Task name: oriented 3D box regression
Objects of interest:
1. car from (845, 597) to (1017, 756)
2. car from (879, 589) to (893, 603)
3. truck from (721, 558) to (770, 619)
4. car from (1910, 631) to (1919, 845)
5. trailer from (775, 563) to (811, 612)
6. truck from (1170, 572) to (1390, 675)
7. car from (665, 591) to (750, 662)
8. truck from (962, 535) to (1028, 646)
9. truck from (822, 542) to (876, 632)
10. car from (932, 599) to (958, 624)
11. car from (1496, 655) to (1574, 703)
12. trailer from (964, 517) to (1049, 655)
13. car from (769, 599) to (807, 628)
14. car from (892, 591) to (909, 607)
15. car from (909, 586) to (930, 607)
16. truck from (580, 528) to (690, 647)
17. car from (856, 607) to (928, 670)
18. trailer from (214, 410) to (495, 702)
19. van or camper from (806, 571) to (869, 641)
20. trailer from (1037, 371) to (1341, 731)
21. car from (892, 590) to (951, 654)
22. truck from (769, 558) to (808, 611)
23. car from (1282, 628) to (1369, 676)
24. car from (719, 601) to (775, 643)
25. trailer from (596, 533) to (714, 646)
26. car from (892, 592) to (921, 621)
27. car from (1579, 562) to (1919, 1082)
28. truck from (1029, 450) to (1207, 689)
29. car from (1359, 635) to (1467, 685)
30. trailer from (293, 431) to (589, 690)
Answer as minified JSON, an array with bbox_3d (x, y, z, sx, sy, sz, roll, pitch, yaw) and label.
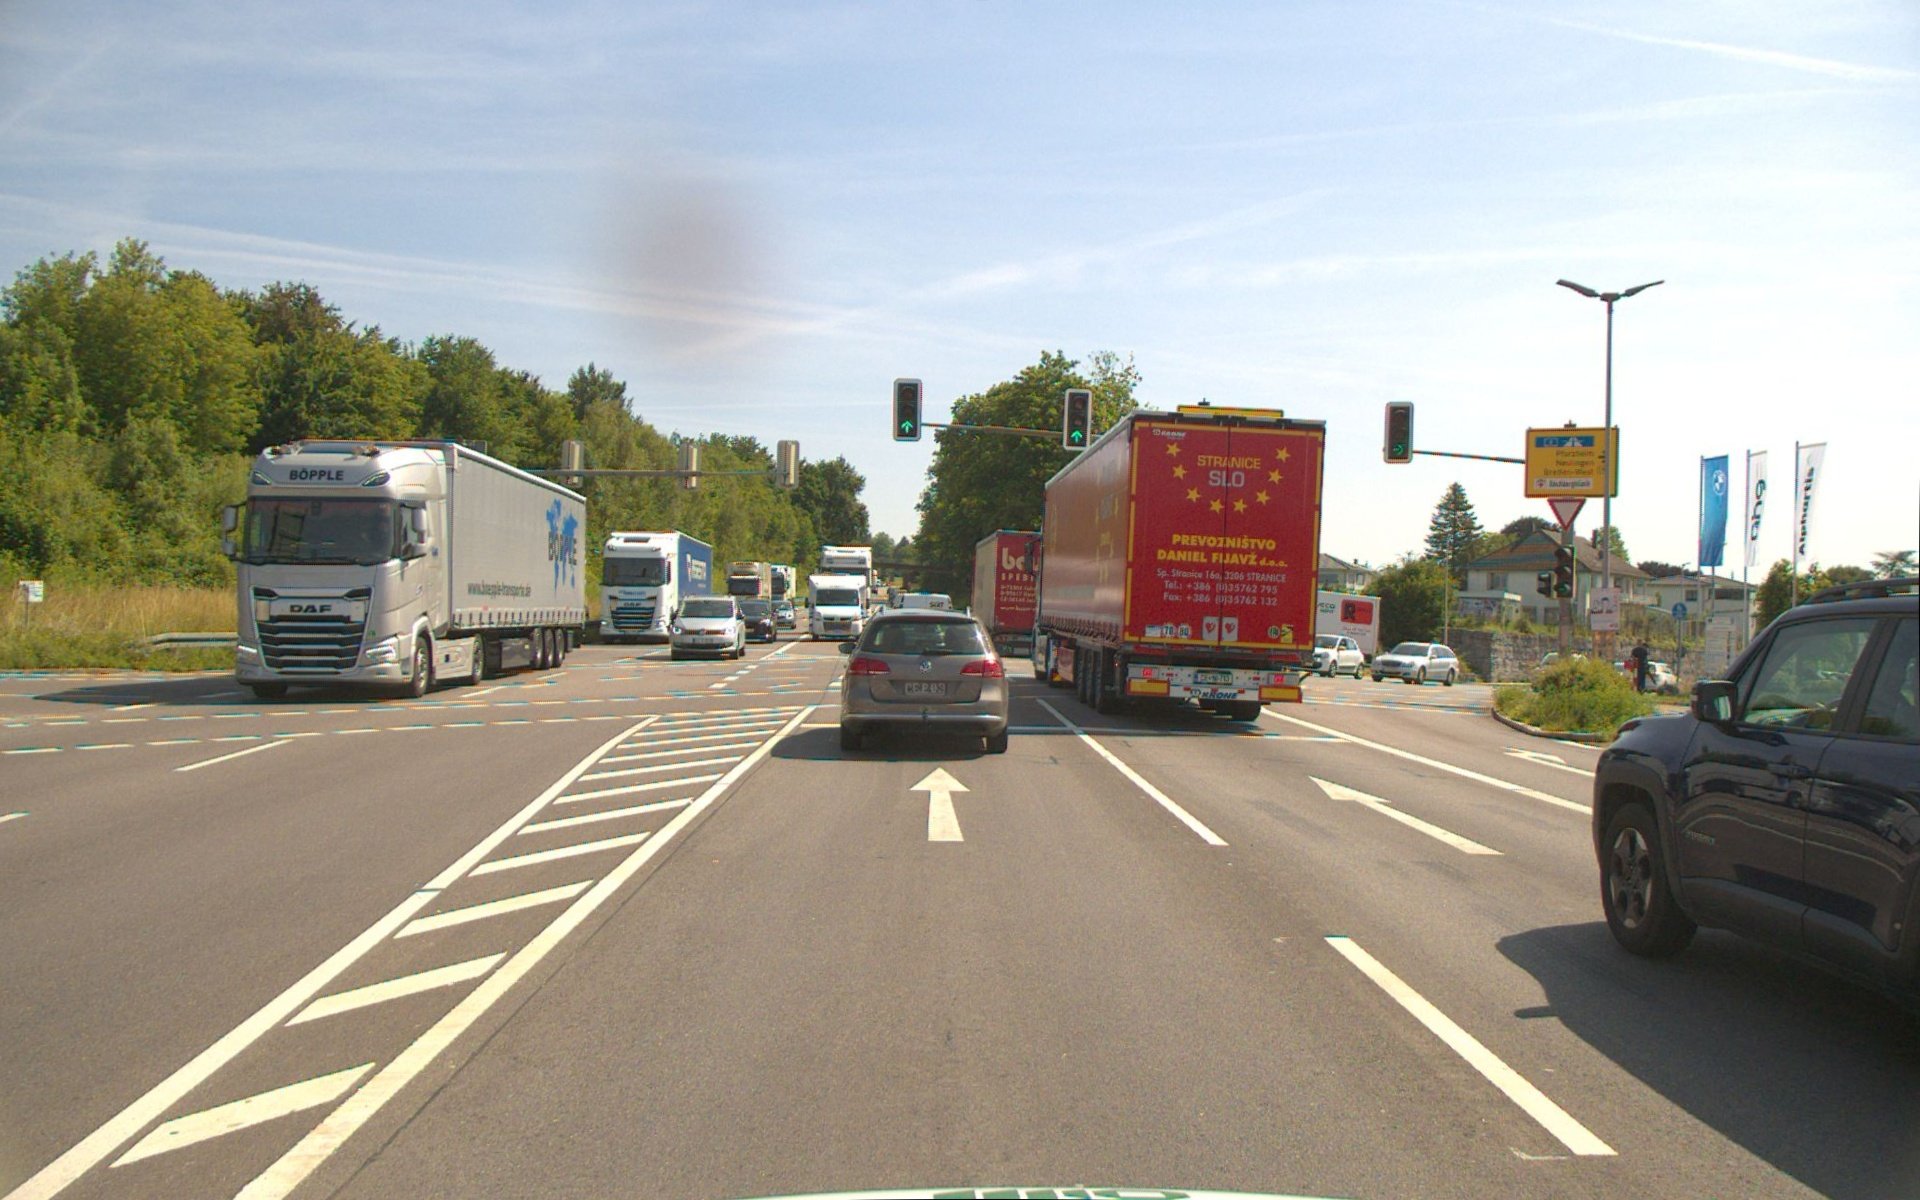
[{"bbox_3d":[-0.400,0.755,18.113,1.658,1.539,3.997,1,0,-4],"label":"car"},{"bbox_3d":[-11.144,-0.649,249.475,1.954,2.049,3.997,1,0,-3],"label":"car"},{"bbox_3d":[-14.920,-0.731,115.596,2.675,4.069,9.613,1,0,-3],"label":"truck"},{"bbox_3d":[7.438,1.003,9.856,1.951,1.546,4.453,1,0,14],"label":"car"},{"bbox_3d":[-14.680,-1.086,145.800,2.784,4.141,8.749,1,0,-4],"label":"trailer"},{"bbox_3d":[14.559,1.105,75.103,9.528,3.690,2.752,6,-2,-20],"label":"truck"},{"bbox_3d":[-6.853,0.682,45.232,1.806,1.763,4.585,2,0,-3],"label":"car"},{"bbox_3d":[1.328,-0.338,65.580,2.357,4.200,5.519,1,0,-1],"label":"truck"},{"bbox_3d":[-5.409,-0.582,80.276,2.487,4.159,6.260,1,0,-4],"label":"truck"},{"bbox_3d":[-1.263,0.957,137.006,1.954,2.049,3.997,1,0,-3],"label":"car"},{"bbox_3d":[21.620,2.967,62.112,1.957,1.602,3.991,3,0,31],"label":"car"},{"bbox_3d":[1.474,-0.428,58.772,2.347,4.317,13.074,1,0,-1],"label":"trailer"},{"bbox_3d":[-9.279,0.733,89.351,1.690,1.528,3.999,1,0,-2],"label":"car"},{"bbox_3d":[-7.455,-0.117,207.584,1.954,2.049,3.997,1,0,-3],"label":"car"},{"bbox_3d":[-4.070,-0.372,167.292,1.954,2.049,3.997,1,0,-3],"label":"car"},{"bbox_3d":[-11.928,-0.427,61.298,3.124,4.151,6.341,1,0,-4],"label":"truck"},{"bbox_3d":[-1.781,0.952,42.448,1.735,1.539,3.997,1,0,-4],"label":"car"},{"bbox_3d":[-9.603,-0.622,26.973,2.593,4.177,6.176,1,0,-4],"label":"trailer"},{"bbox_3d":[-4.860,0.253,66.695,2.284,2.646,6.975,1,0,-2],"label":"van or camper"},{"bbox_3d":[3.220,-0.594,27.574,2.782,4.441,13.163,3,0,-1],"label":"trailer"},{"bbox_3d":[-1.272,0.677,53.161,1.735,1.970,3.975,1,0,-4],"label":"car"},{"bbox_3d":[-14.125,-1.208,136.616,2.774,4.188,9.674,1,0,-4],"label":"truck"},{"bbox_3d":[13.497,1.921,60.911,1.678,1.530,3.739,3,-2,37],"label":"car"},{"bbox_3d":[-7.964,0.813,62.214,1.955,1.511,4.448,1,0,-6],"label":"car"},{"bbox_3d":[-12.337,-0.374,68.275,3.032,4.151,14.117,1,0,-3],"label":"trailer"},{"bbox_3d":[-3.818,0.463,117.745,1.954,2.049,3.997,1,0,-3],"label":"car"},{"bbox_3d":[3.964,0.729,6.194,1.734,1.683,3.999,1,0,-1],"label":"car"},{"bbox_3d":[3.097,-0.562,34.039,2.812,4.355,5.837,3,0,-1],"label":"truck"},{"bbox_3d":[16.338,2.170,59.460,1.962,1.531,4.977,3,-2,37],"label":"car"},{"bbox_3d":[-10.080,-0.623,34.133,2.638,4.220,13.867,1,0,-4],"label":"trailer"}]
